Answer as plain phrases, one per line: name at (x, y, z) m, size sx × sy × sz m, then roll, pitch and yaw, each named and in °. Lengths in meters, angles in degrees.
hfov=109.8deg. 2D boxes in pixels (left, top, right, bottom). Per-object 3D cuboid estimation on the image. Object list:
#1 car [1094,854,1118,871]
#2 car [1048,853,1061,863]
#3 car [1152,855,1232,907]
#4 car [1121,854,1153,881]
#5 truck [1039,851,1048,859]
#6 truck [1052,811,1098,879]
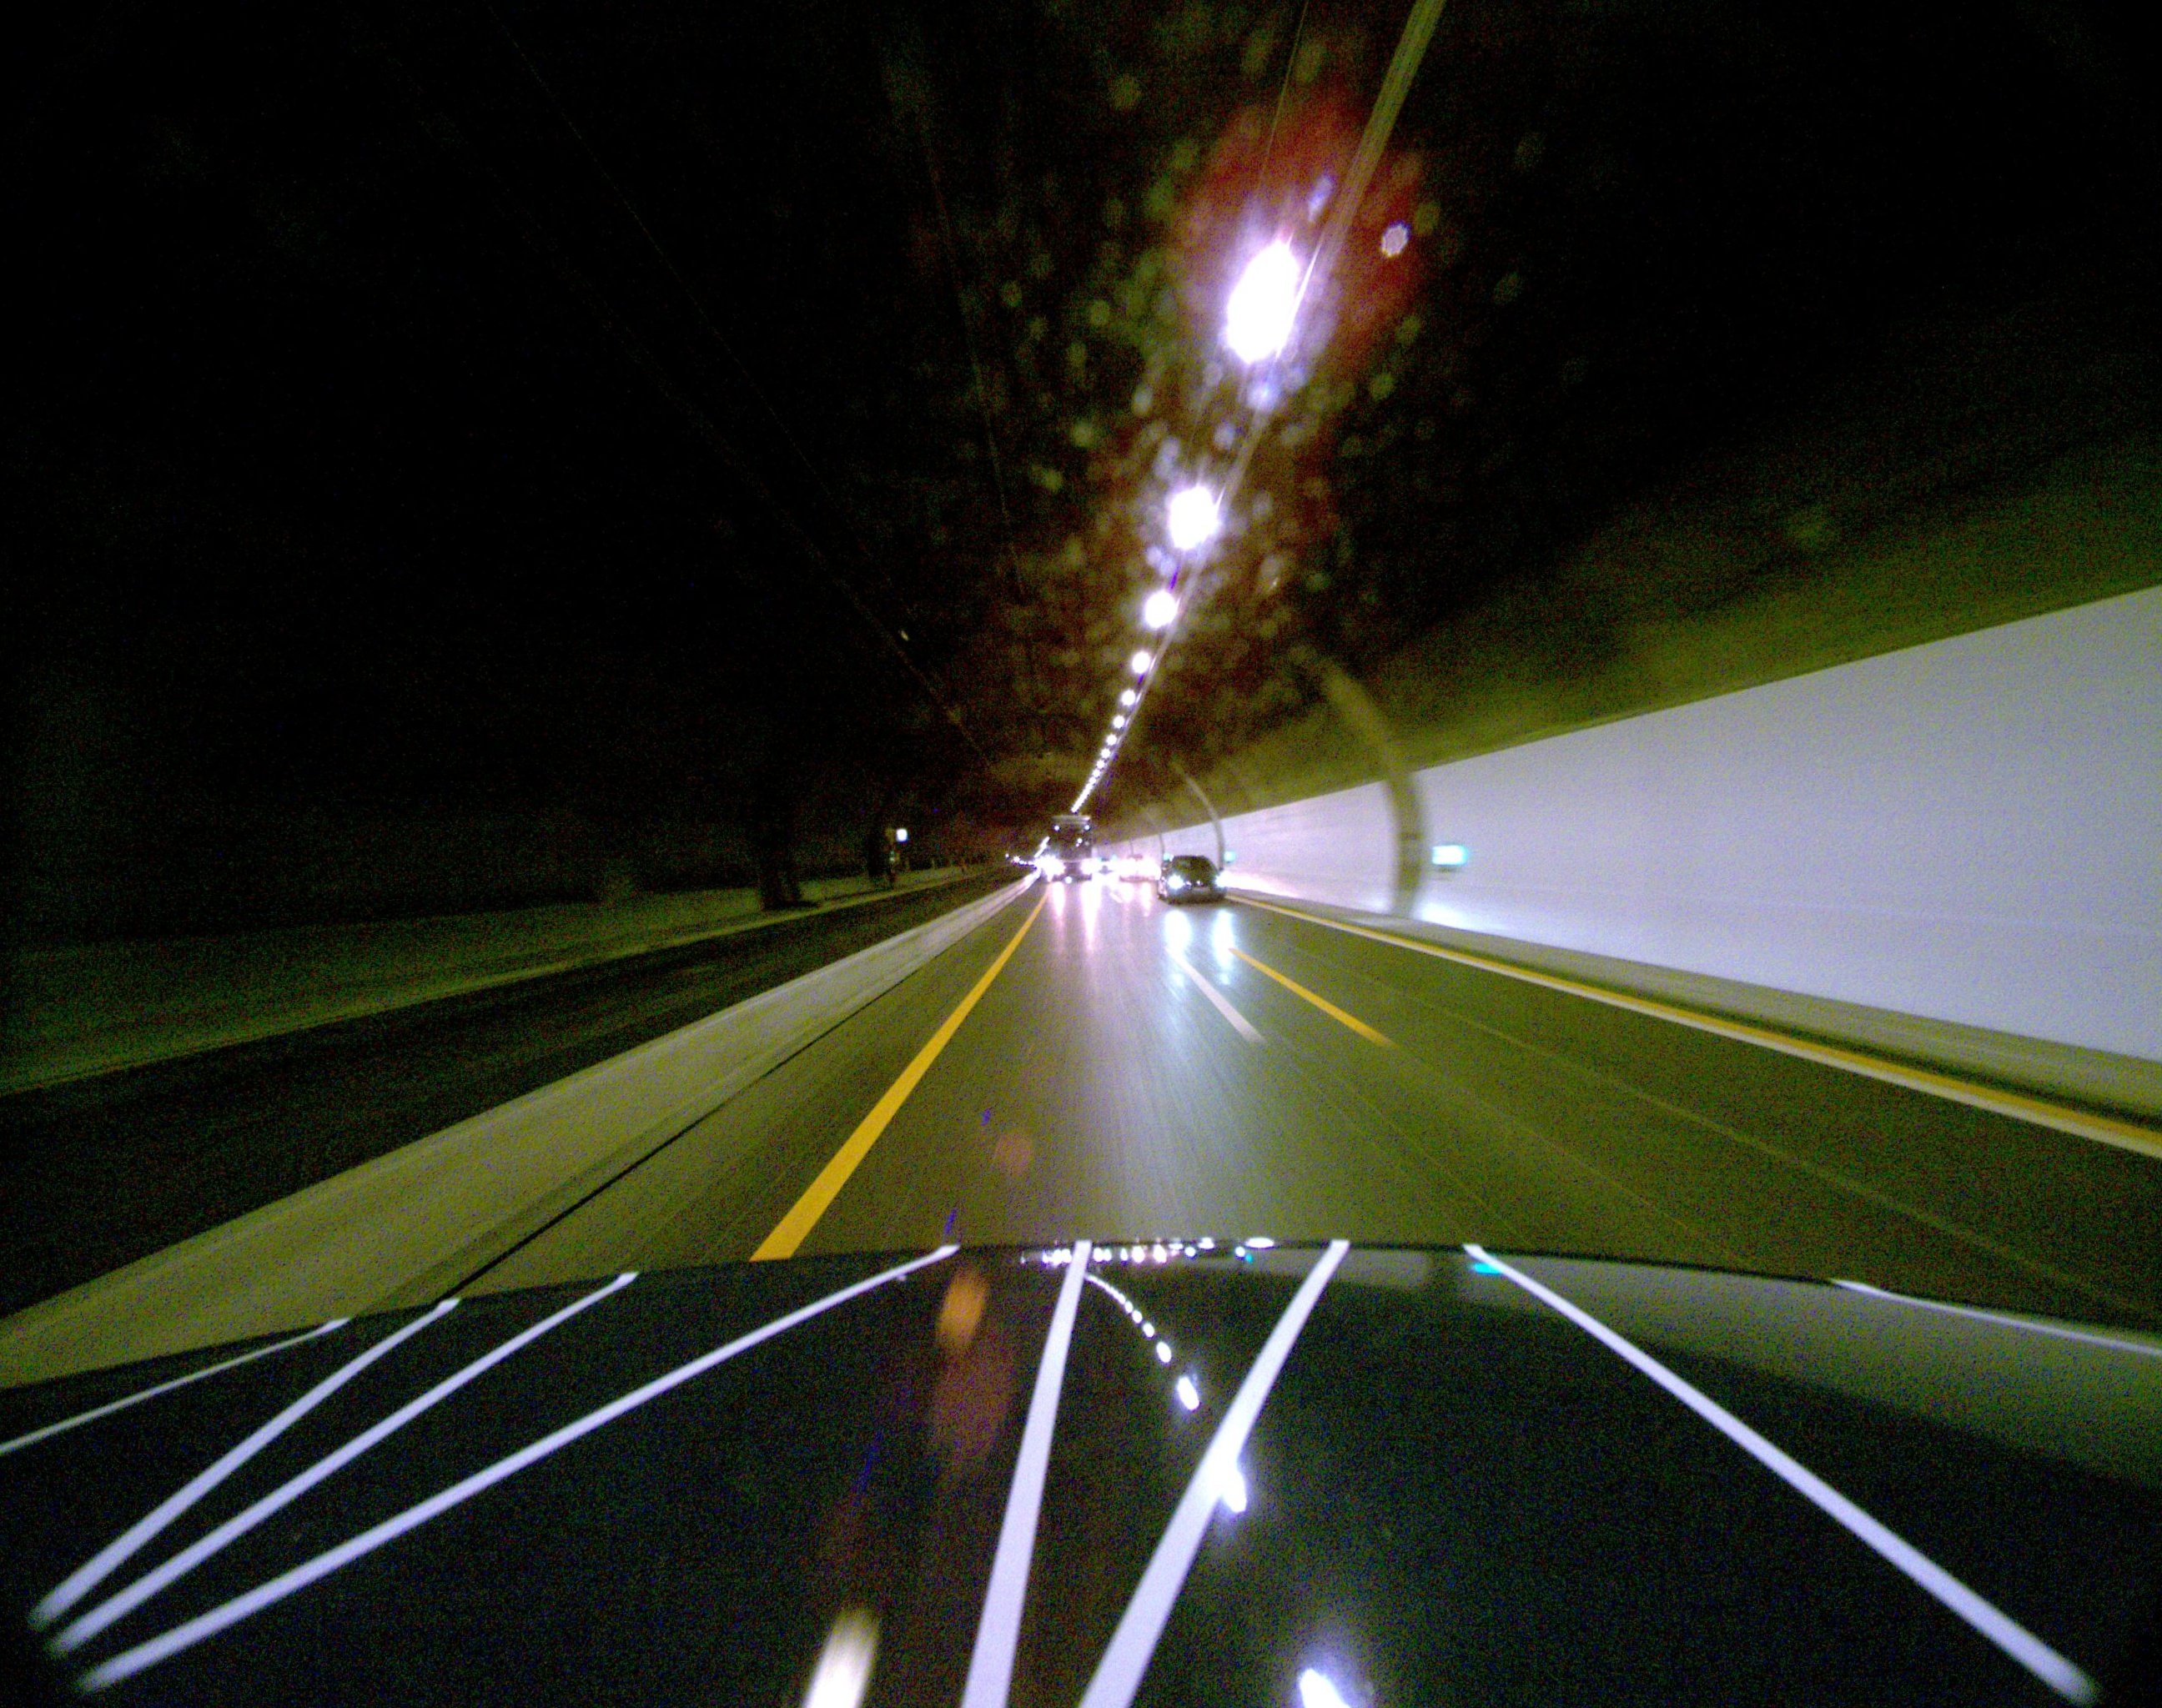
car at (2.295, 0.779, 69.500) m, size 1.909 × 1.412 × 4.060 m, roll -2°, pitch 0°, yaw -2°
car at (-4.087, 0.583, 117.994) m, size 1.999 × 1.524 × 3.999 m, roll -2°, pitch 0°, yaw -2°
car at (3.446, 0.794, 24.453) m, size 1.782 × 1.430 × 4.882 m, roll -2°, pitch 0°, yaw -1°
car at (3.199, 0.754, 43.746) m, size 1.531 × 1.508 × 2.651 m, roll -2°, pitch 0°, yaw -1°
truck at (-12.532, 0.261, 253.045) m, size 2.610 × 2.723 × 6.395 m, roll -2°, pitch 0°, yaw -4°
truck at (-0.412, -0.573, 50.827) m, size 2.742 × 4.127 × 8.099 m, roll -2°, pitch 0°, yaw -1°
